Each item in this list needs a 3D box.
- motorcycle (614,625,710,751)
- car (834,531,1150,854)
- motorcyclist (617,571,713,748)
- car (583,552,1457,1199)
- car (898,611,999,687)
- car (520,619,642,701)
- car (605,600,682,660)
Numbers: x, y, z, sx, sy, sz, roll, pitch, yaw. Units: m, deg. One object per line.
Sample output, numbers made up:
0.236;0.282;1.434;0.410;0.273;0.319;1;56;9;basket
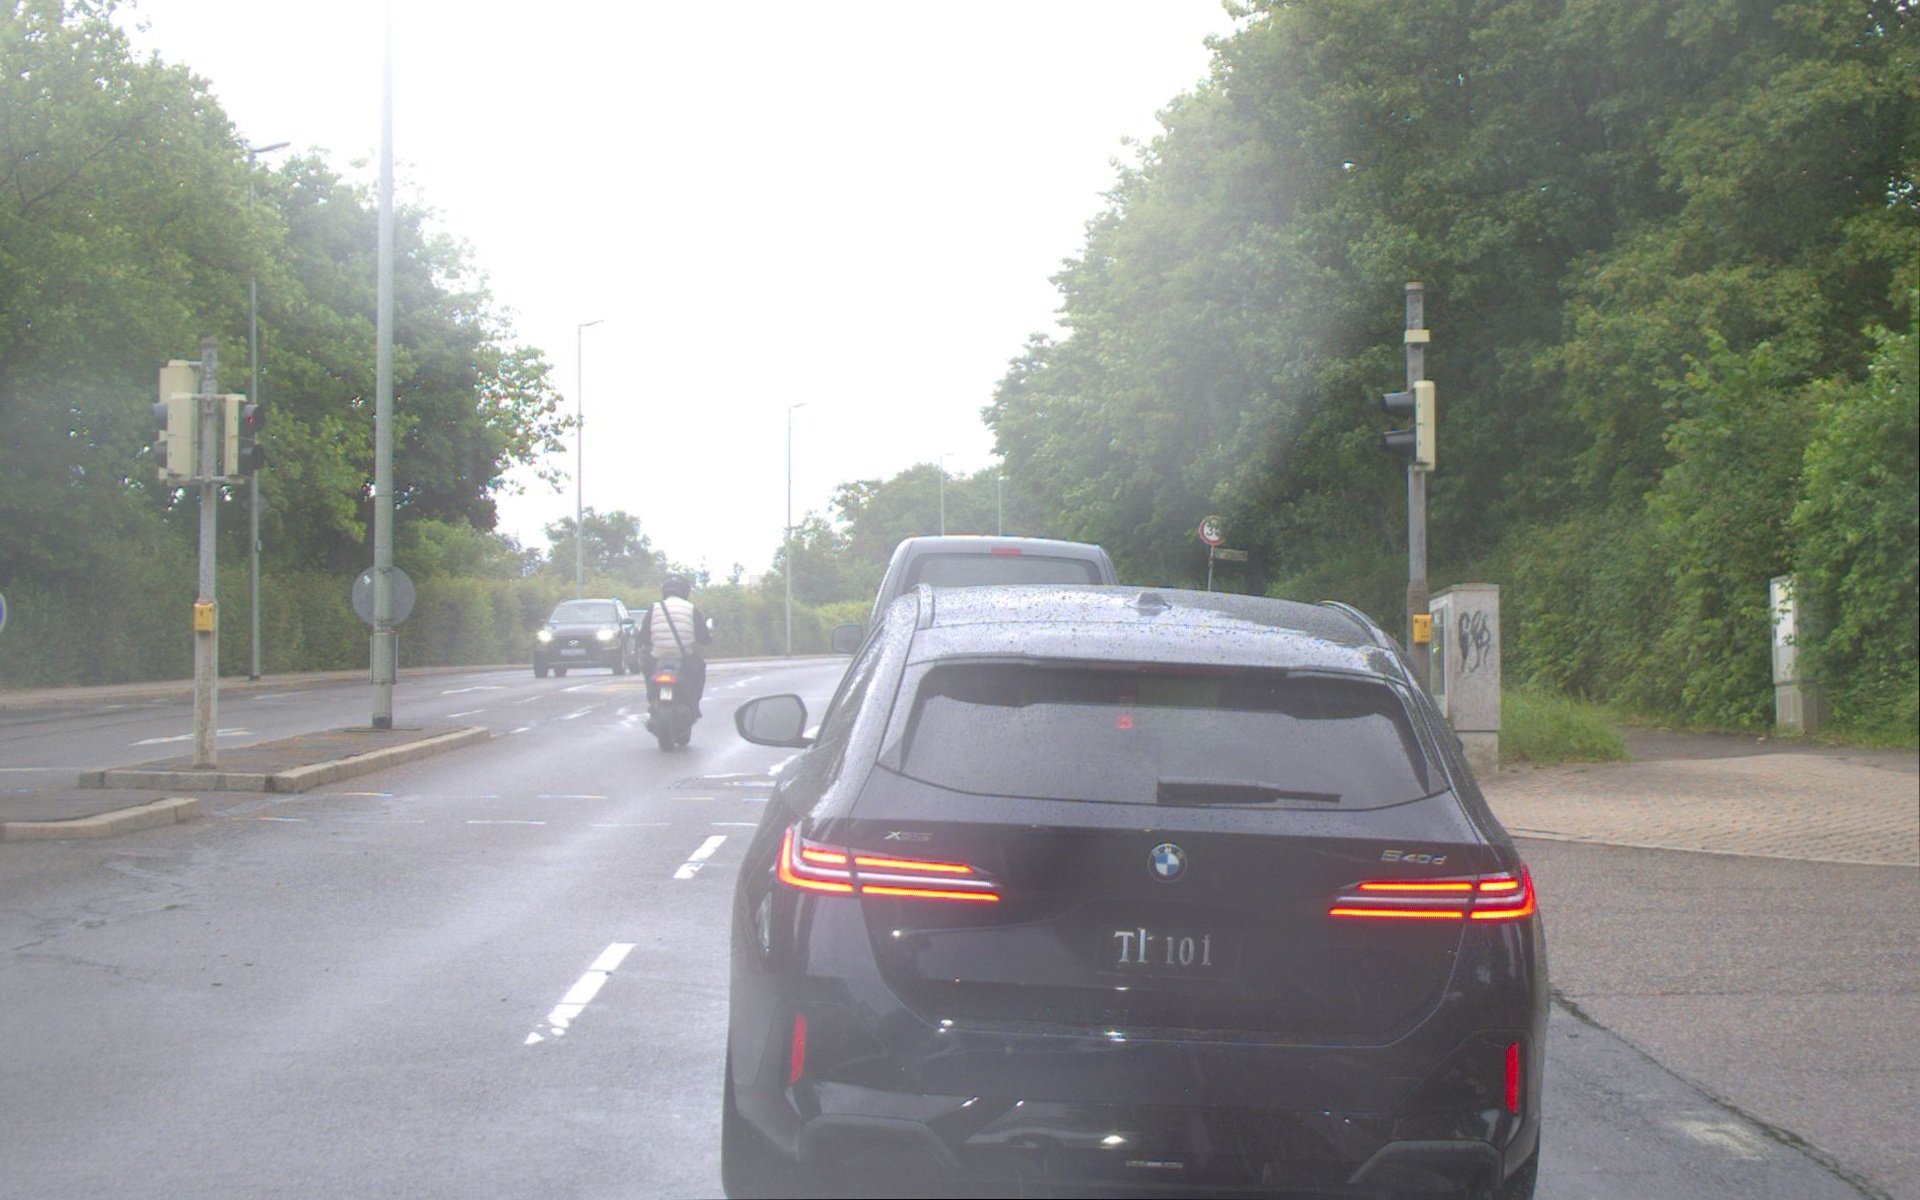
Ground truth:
-2.796;0.813;32.339;0.741;1.116;1.426;1;1;1;motorcycle
0.208;0.492;21.508;1.767;1.804;3.905;1;1;1;car
-2.780;0.556;32.415;0.845;1.641;0.468;0;1;1;motorcyclist
0.144;0.668;8.866;1.764;1.531;3.673;1;0;1;car
-0.215;1.008;72.017;2.015;1.410;4.486;1;1;1;car
-7.650;1.185;69.654;2.025;1.558;3.877;-1;0;0;car
-8.626;0.805;94.056;1.795;1.597;3.732;-1;0;-1;car
